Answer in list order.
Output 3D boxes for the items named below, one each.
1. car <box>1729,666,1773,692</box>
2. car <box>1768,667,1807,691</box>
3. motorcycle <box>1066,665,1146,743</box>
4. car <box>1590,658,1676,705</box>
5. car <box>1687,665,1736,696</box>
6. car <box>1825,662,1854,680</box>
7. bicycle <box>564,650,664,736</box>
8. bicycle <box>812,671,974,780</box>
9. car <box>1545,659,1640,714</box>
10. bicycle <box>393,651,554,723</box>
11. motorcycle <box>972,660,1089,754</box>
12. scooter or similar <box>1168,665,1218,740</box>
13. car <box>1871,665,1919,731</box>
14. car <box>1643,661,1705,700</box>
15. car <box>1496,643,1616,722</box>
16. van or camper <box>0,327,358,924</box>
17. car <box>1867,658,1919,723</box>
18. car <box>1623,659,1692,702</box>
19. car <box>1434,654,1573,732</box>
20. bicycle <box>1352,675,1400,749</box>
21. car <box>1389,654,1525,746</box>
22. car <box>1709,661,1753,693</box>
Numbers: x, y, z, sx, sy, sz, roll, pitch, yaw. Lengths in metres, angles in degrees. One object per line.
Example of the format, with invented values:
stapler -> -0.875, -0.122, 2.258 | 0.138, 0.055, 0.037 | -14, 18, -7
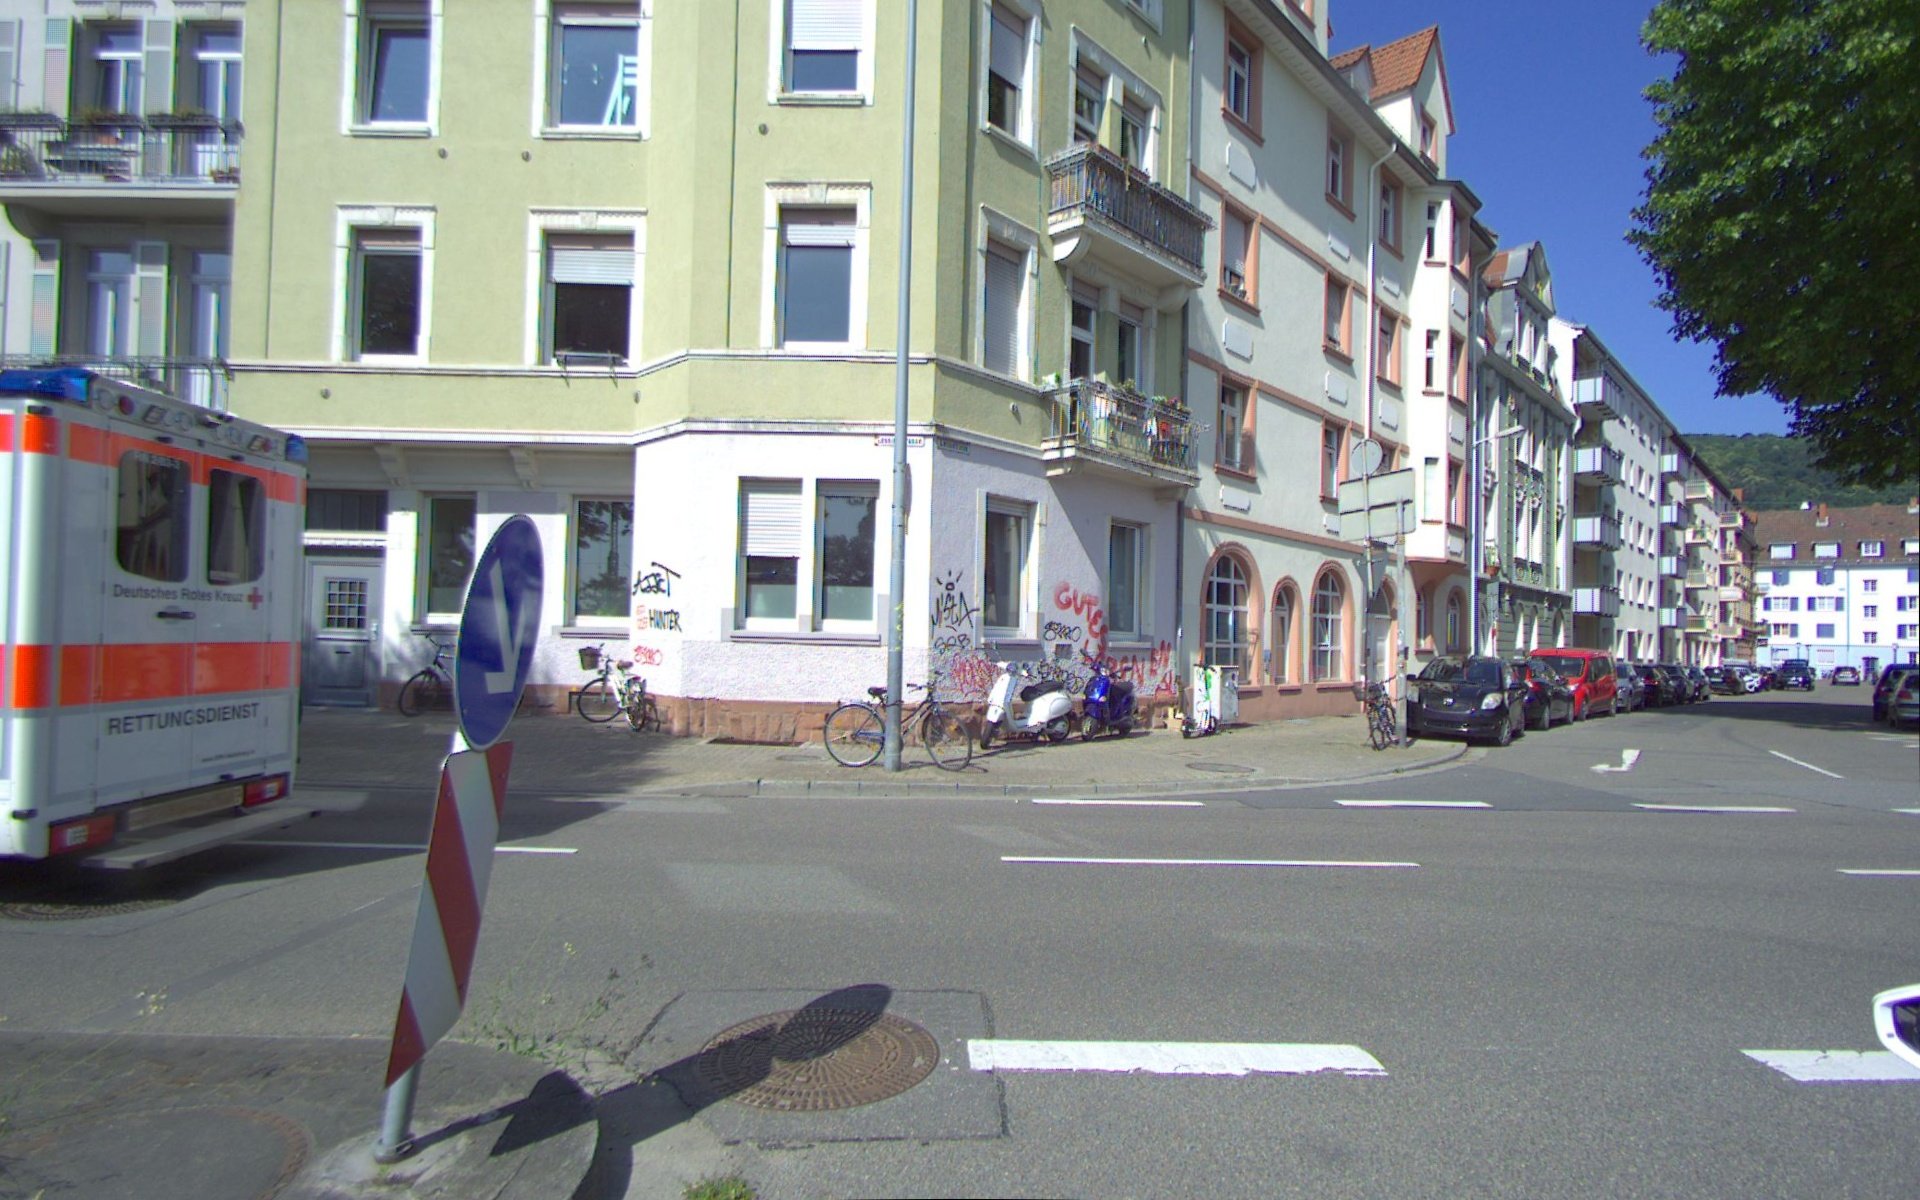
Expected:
car -> 51.394, 5.109, 65.250 | 1.972, 1.497, 3.978 | -1, -3, 43
car -> 55.395, 5.283, 67.242 | 1.730, 1.480, 3.758 | -1, -3, 44
motorcycle -> 2.245, 1.559, 15.315 | 0.422, 1.108, 1.442 | 2, -2, 43
car -> 23.969, 2.861, 35.724 | 1.844, 1.505, 3.976 | -1, -3, 44
car -> 39.710, 4.224, 53.039 | 1.841, 1.505, 3.844 | 0, -3, 41
car -> 76.372, 6.134, 87.199 | 1.730, 1.500, 3.758 | -1, -3, 44
bicycle -> -4.807, 1.254, 13.898 | 1.803, 1.060, 0.535 | -1, -3, 45
bicycle -> -0.720, 1.362, 11.019 | 1.701, 1.102, 0.578 | 1, -2, -2
car -> 19.303, 2.572, 30.589 | 1.842, 1.505, 3.980 | 0, -3, 41
bicycle -> -7.213, 1.278, 14.931 | 2.072, 0.958, 0.609 | 2, 0, 0
motorcycle -> 0.985, 1.435, 13.768 | 1.750, 1.165, 0.468 | 2, 0, -40
scooter or similar -> 3.787, 1.639, 16.281 | 0.270, 1.142, 1.444 | 2, -2, 33
car -> 23.146, 2.326, 24.118 | 1.786, 1.470, 3.772 | -1, -3, 44
car -> 30.763, 3.432, 43.229 | 1.841, 1.505, 3.981 | 0, -3, 41
car -> 15.737, 2.107, 26.437 | 1.846, 1.865, 4.202 | -1, -3, 43
van or camper -> -7.010, 0.095, 5.843 | 5.462, 2.825, 2.304 | 2, -3, -2
car -> 26.676, 2.513, 28.164 | 1.730, 1.679, 3.758 | -1, -3, 44
car -> 27.347, 3.107, 39.349 | 1.841, 1.505, 3.981 | 0, -3, 41
car -> 12.286, 2.013, 22.608 | 1.959, 1.563, 4.044 | -1, -3, 40
bicycle -> 6.632, 1.744, 15.969 | 0.615, 1.047, 1.881 | 1, -2, 25
car -> 9.315, 1.768, 18.667 | 1.796, 1.466, 3.758 | 0, -3, 34
car -> 44.400, 4.407, 57.840 | 1.841, 1.744, 3.844 | 0, -3, 41
